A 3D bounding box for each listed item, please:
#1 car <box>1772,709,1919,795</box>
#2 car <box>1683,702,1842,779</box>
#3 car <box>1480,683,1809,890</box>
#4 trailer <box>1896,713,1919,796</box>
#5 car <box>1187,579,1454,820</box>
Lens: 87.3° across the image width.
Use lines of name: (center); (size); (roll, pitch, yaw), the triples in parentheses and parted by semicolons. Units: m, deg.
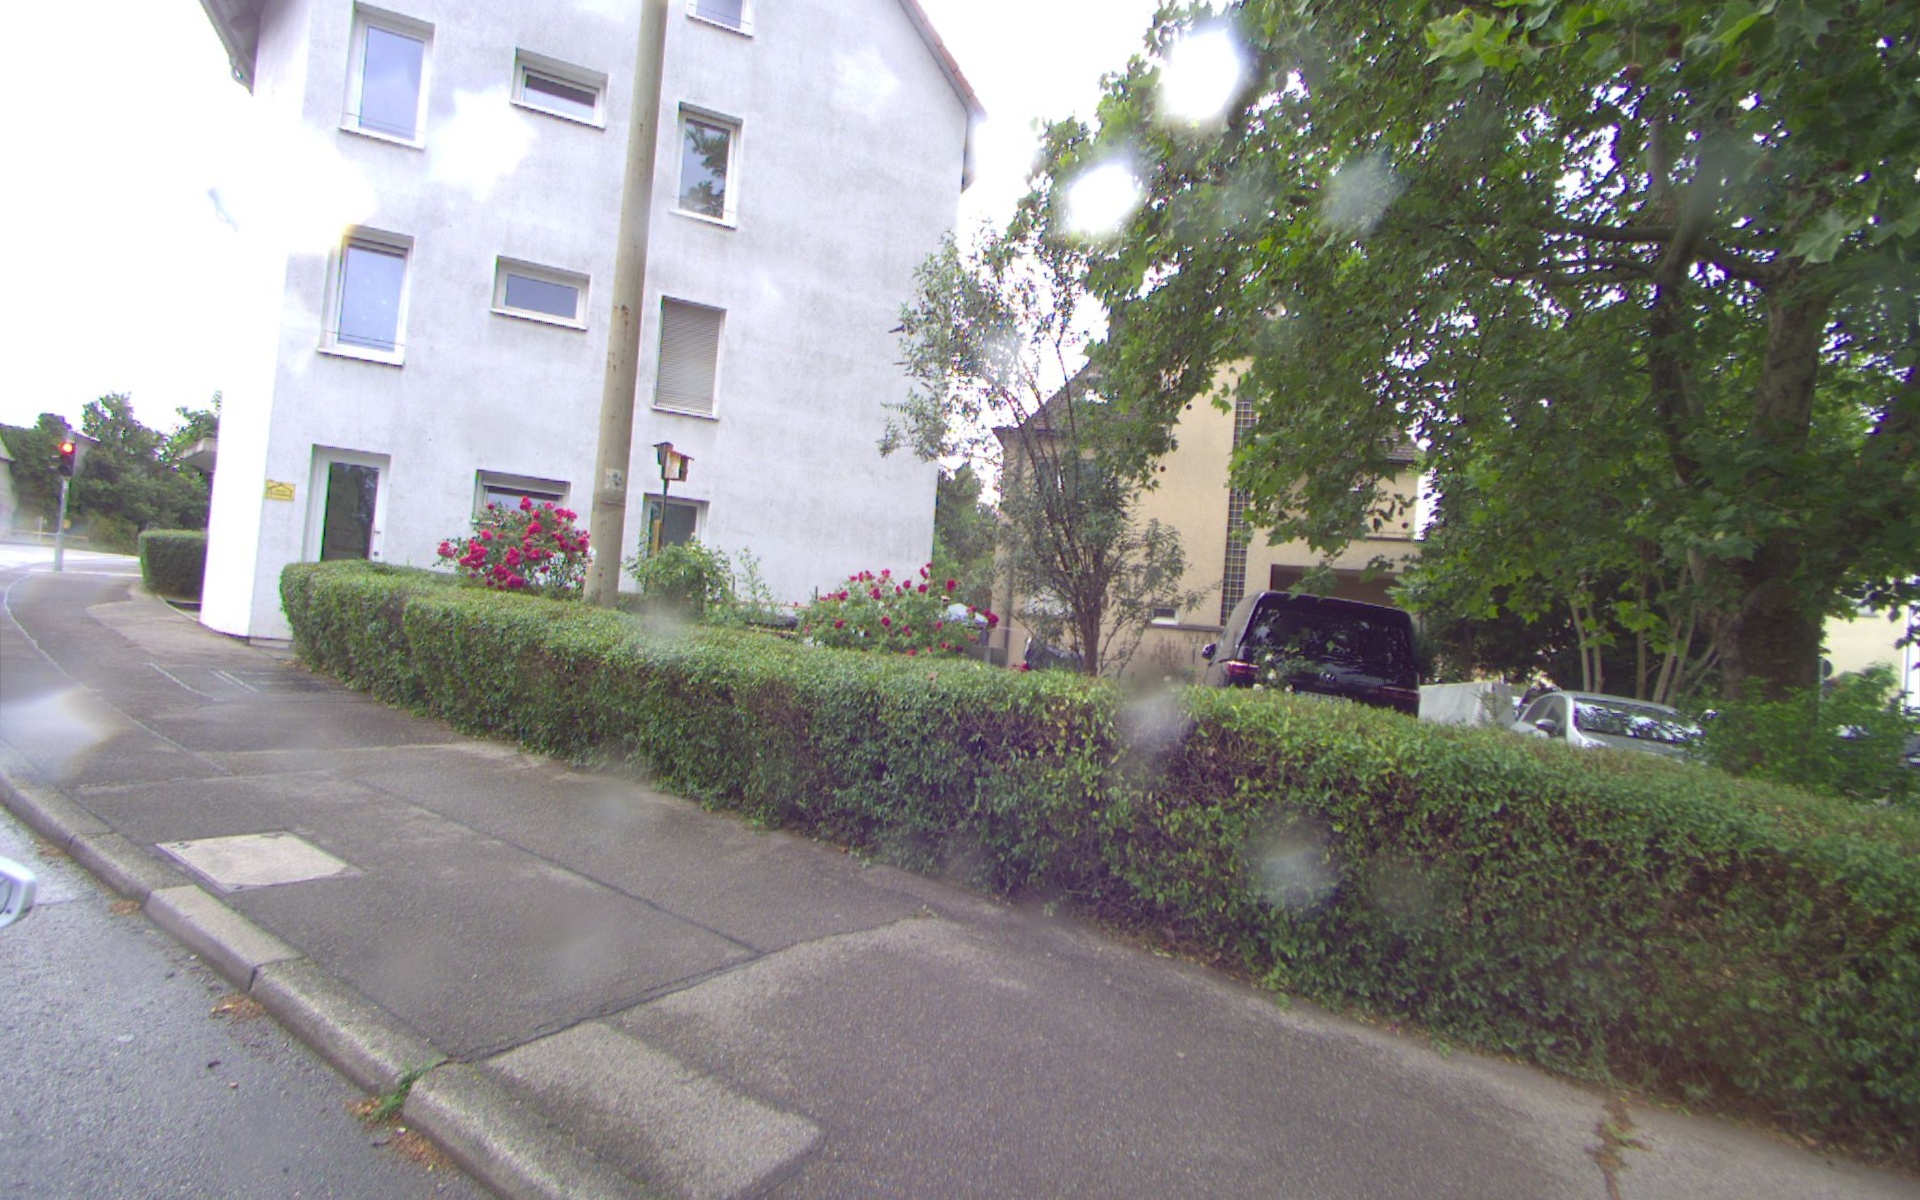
car: (25.249, 4.209, 27.998); (1.962, 1.861, 4.584); (6, -2, 9)
car: (26.333, 4.550, 33.243); (1.962, 1.861, 4.584); (6, -2, 9)
car: (7.371, 1.879, 11.356); (1.788, 1.599, 4.003); (6, -2, 16)
trailer: (24.705, 3.921, 23.984); (1.640, 2.037, 3.494); (6, -1, 8)
car: (3.743, 0.991, 11.313); (1.962, 1.955, 4.419); (6, -1, 11)
